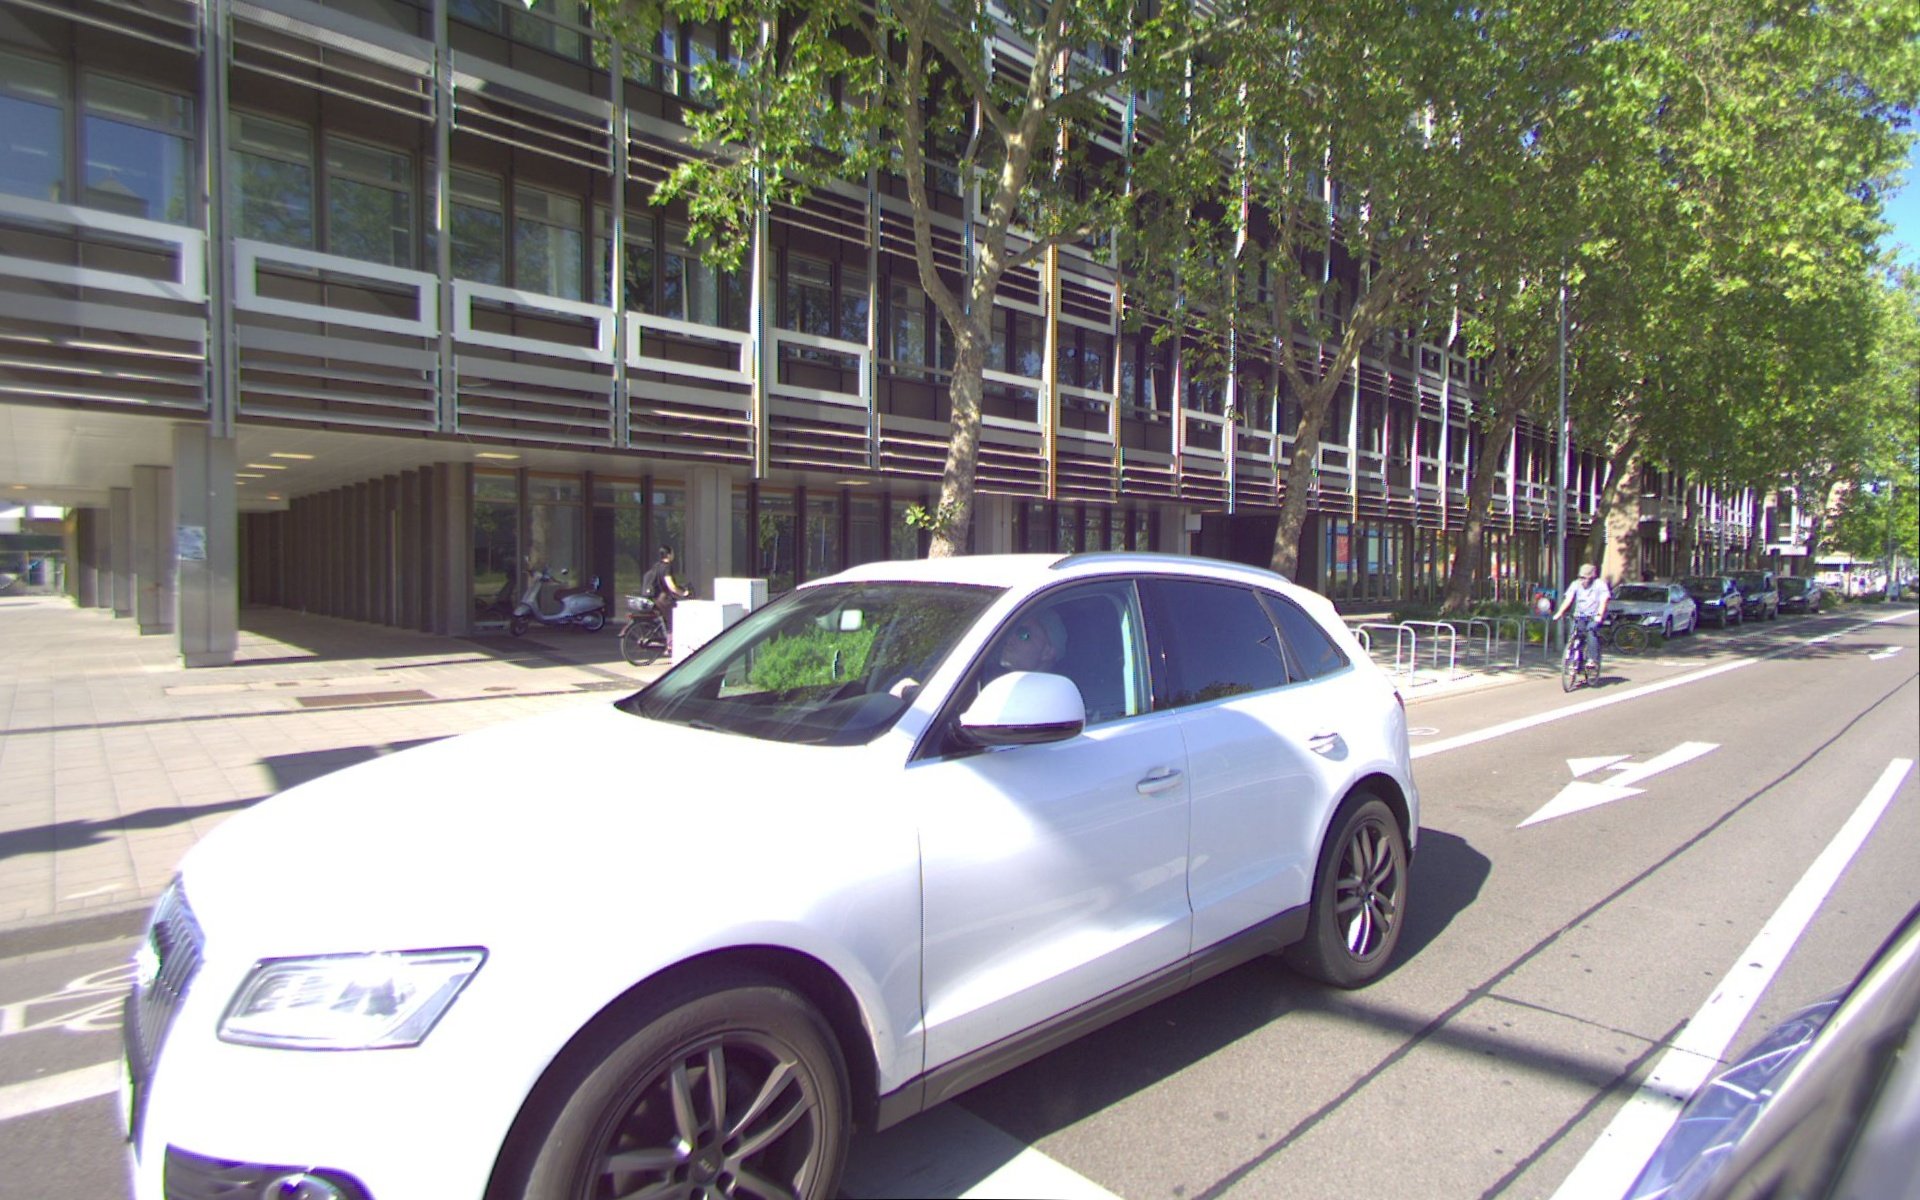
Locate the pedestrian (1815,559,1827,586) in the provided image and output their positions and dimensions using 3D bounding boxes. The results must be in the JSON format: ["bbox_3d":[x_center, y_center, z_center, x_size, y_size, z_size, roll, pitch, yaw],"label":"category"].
[{"bbox_3d":[60.005,-1.890,70.519,0.686,1.863,0.590,-1,1,-43],"label":"pedestrian"}]

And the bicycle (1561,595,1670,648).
[{"bbox_3d":[13.988,0.438,21.624,1.844,0.972,0.700,4,4,44],"label":"bicycle"}]

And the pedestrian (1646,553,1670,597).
[{"bbox_3d":[32.131,-1.147,46.604,0.614,2.039,0.741,-1,1,-38],"label":"pedestrian"}]

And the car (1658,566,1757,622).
[{"bbox_3d":[23.943,-0.248,32.345,4.264,1.653,1.750,-1,3,-43],"label":"car"}]

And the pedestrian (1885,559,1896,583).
[{"bbox_3d":[73.166,-2.303,79.603,0.560,1.863,0.590,-1,1,-43],"label":"pedestrian"}]

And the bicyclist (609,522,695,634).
[{"bbox_3d":[-4.325,-0.317,14.210,0.869,1.495,0.882,-1,2,-43],"label":"bicyclist"}]

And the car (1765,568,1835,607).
[{"bbox_3d":[36.363,-0.565,43.780,4.264,1.573,1.750,-1,3,-43],"label":"car"}]

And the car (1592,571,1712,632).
[{"bbox_3d":[19.123,-0.031,27.883,4.483,1.508,1.750,-1,3,-43],"label":"car"}]

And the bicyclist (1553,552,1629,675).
[{"bbox_3d":[9.075,0.183,14.559,0.838,1.709,0.710,-1,-1,-44],"label":"bicyclist"}]

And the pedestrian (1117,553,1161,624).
[{"bbox_3d":[4.194,-0.279,23.759,0.715,1.620,0.667,-1,4,-41],"label":"pedestrian"}]

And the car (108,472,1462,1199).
[{"bbox_3d":[-0.089,0.587,3.509,4.337,1.633,1.822,-1,2,-42],"label":"car"}]

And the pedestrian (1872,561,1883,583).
[{"bbox_3d":[75.142,-2.291,82.896,0.560,1.863,0.590,-1,1,-43],"label":"pedestrian"}]

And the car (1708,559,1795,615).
[{"bbox_3d":[28.232,-0.508,36.050,4.264,1.843,1.750,-1,3,-43],"label":"car"}]

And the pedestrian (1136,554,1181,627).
[{"bbox_3d":[4.525,-0.233,23.116,0.715,1.620,0.667,-1,4,-42],"label":"pedestrian"}]

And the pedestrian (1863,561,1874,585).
[{"bbox_3d":[72.157,-2.124,80.338,0.685,1.863,0.590,-1,1,-43],"label":"pedestrian"}]

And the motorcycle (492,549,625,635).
[{"bbox_3d":[-7.210,-0.165,18.247,2.086,1.459,0.824,-2,2,-43],"label":"motorcycle"}]

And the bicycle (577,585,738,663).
[{"bbox_3d":[-4.249,0.297,14.306,2.017,0.997,0.882,-1,2,-43],"label":"bicycle"}]

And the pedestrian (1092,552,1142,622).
[{"bbox_3d":[3.771,-0.323,24.315,0.992,1.620,0.667,-1,4,-42],"label":"pedestrian"}]

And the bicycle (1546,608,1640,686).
[{"bbox_3d":[9.150,0.651,14.601,1.892,1.006,0.710,-1,0,-44],"label":"bicycle"}]
